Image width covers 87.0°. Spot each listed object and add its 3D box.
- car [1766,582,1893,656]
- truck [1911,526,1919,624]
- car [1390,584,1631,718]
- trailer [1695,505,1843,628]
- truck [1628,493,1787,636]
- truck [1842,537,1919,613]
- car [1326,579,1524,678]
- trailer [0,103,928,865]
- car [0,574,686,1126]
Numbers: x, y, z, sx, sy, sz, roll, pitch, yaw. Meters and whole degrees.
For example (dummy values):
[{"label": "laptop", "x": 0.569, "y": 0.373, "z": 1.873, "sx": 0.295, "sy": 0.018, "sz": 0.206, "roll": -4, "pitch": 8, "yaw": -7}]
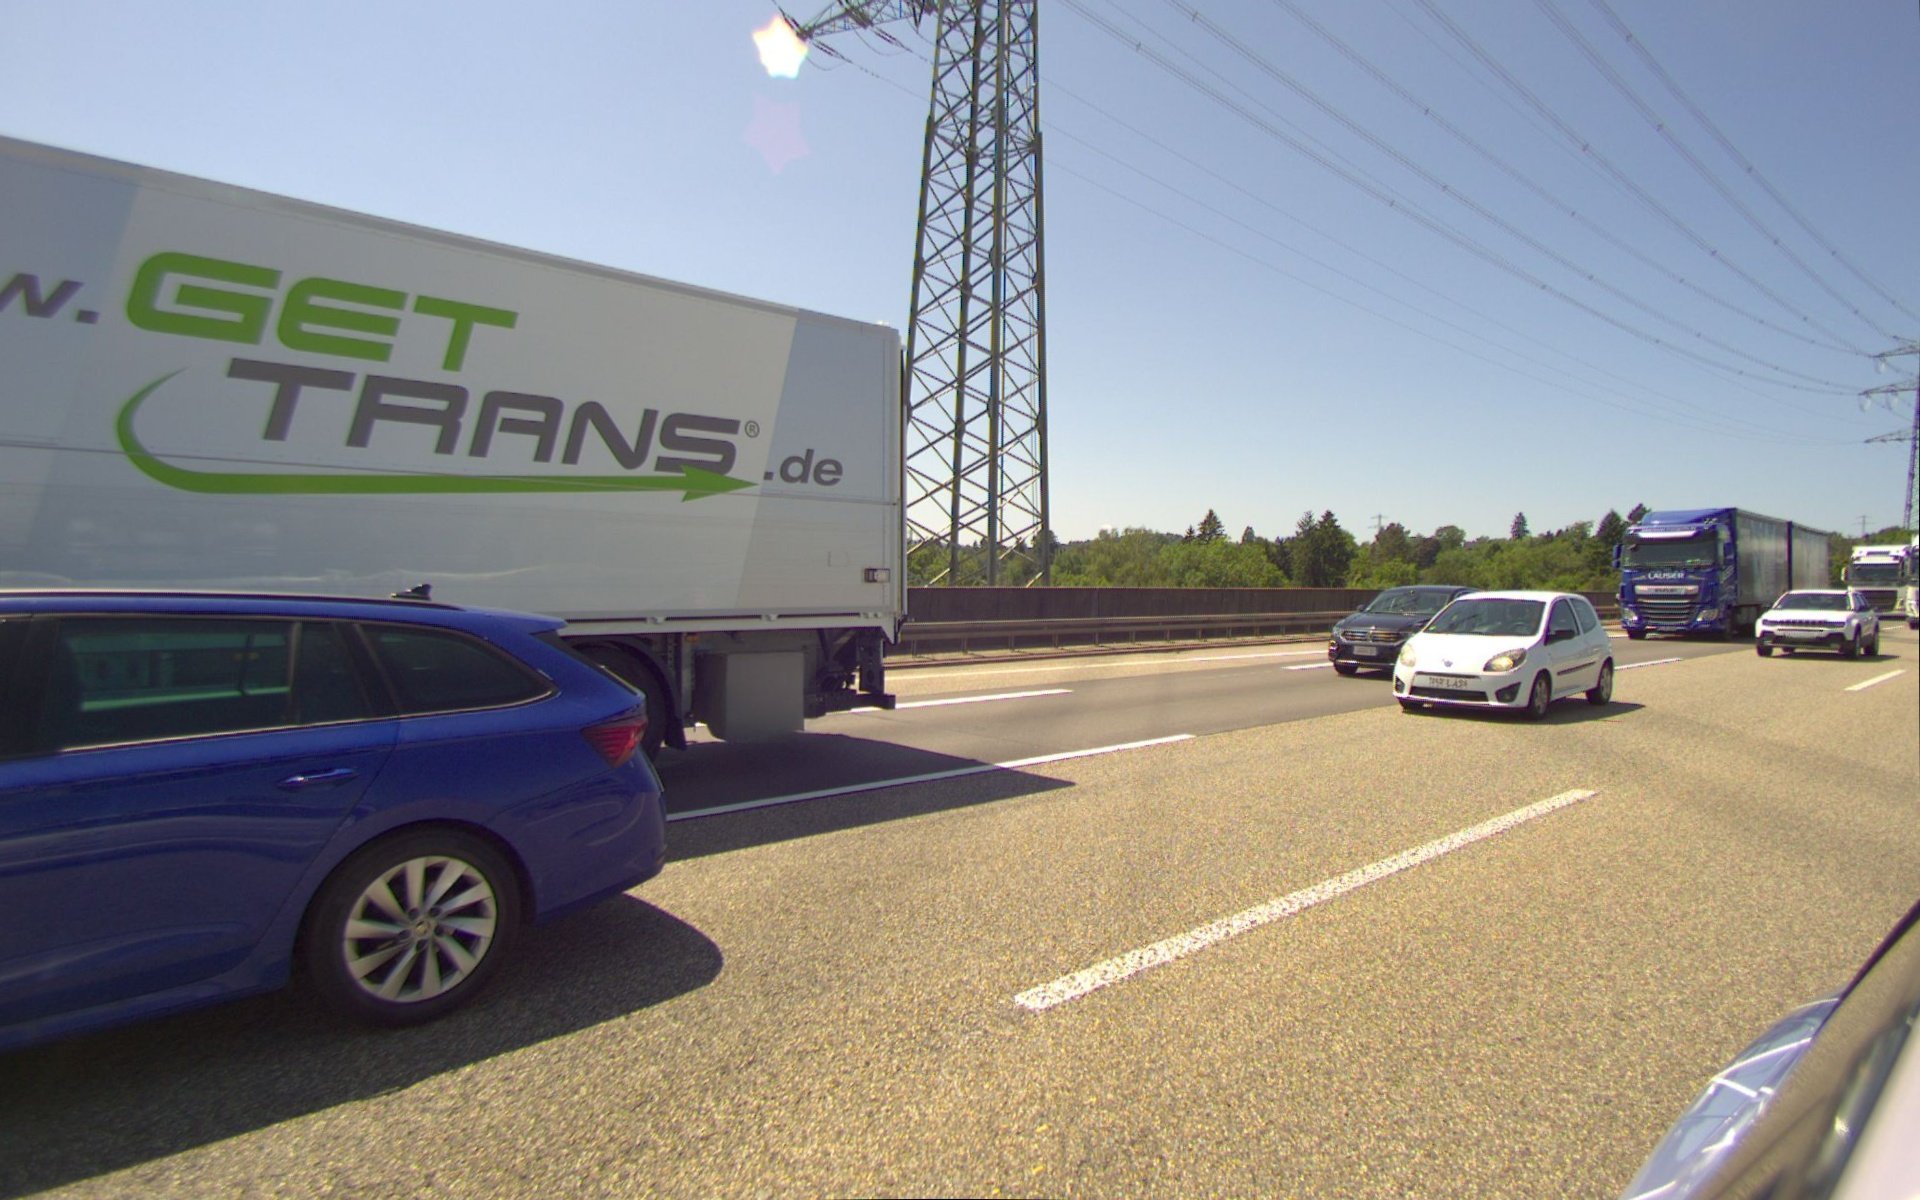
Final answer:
[{"label": "car", "x": 19.863, "y": 0.368, "z": 23.082, "sx": 3.688, "sy": 1.554, "sz": 1.720, "roll": 0, "pitch": 1, "yaw": -42}, {"label": "truck", "x": 41.908, "y": -1.060, "z": 42.054, "sx": 6.625, "sy": 3.941, "sz": 2.911, "roll": -1, "pitch": 1, "yaw": -42}, {"label": "car", "x": 7.041, "y": 0.535, "z": 12.817, "sx": 3.567, "sy": 1.458, "sz": 1.582, "roll": -1, "pitch": 1, "yaw": -42}, {"label": "trailer", "x": 30.527, "y": -1.207, "z": 37.959, "sx": 10.698, "sy": 4.044, "sz": 2.541, "roll": -1, "pitch": 1, "yaw": -41}, {"label": "truck", "x": 23.616, "y": -1.025, "z": 31.805, "sx": 7.790, "sy": 4.018, "sz": 2.515, "roll": 0, "pitch": 0, "yaw": -42}, {"label": "truck", "x": 51.021, "y": -1.355, "z": 55.671, "sx": 6.625, "sy": 3.941, "sz": 2.911, "roll": -1, "pitch": 1, "yaw": -42}, {"label": "car", "x": 8.115, "y": 0.409, "z": 17.546, "sx": 3.821, "sy": 1.524, "sz": 1.708, "roll": -1, "pitch": 1, "yaw": -41}, {"label": "trailer", "x": -4.254, "y": -0.572, "z": 7.024, "sx": 8.148, "sy": 3.640, "sz": 2.849, "roll": 0, "pitch": 0, "yaw": -41}, {"label": "car", "x": -3.286, "y": 0.651, "z": 3.145, "sx": 4.422, "sy": 1.458, "sz": 1.712, "roll": -1, "pitch": 1, "yaw": -42}]
